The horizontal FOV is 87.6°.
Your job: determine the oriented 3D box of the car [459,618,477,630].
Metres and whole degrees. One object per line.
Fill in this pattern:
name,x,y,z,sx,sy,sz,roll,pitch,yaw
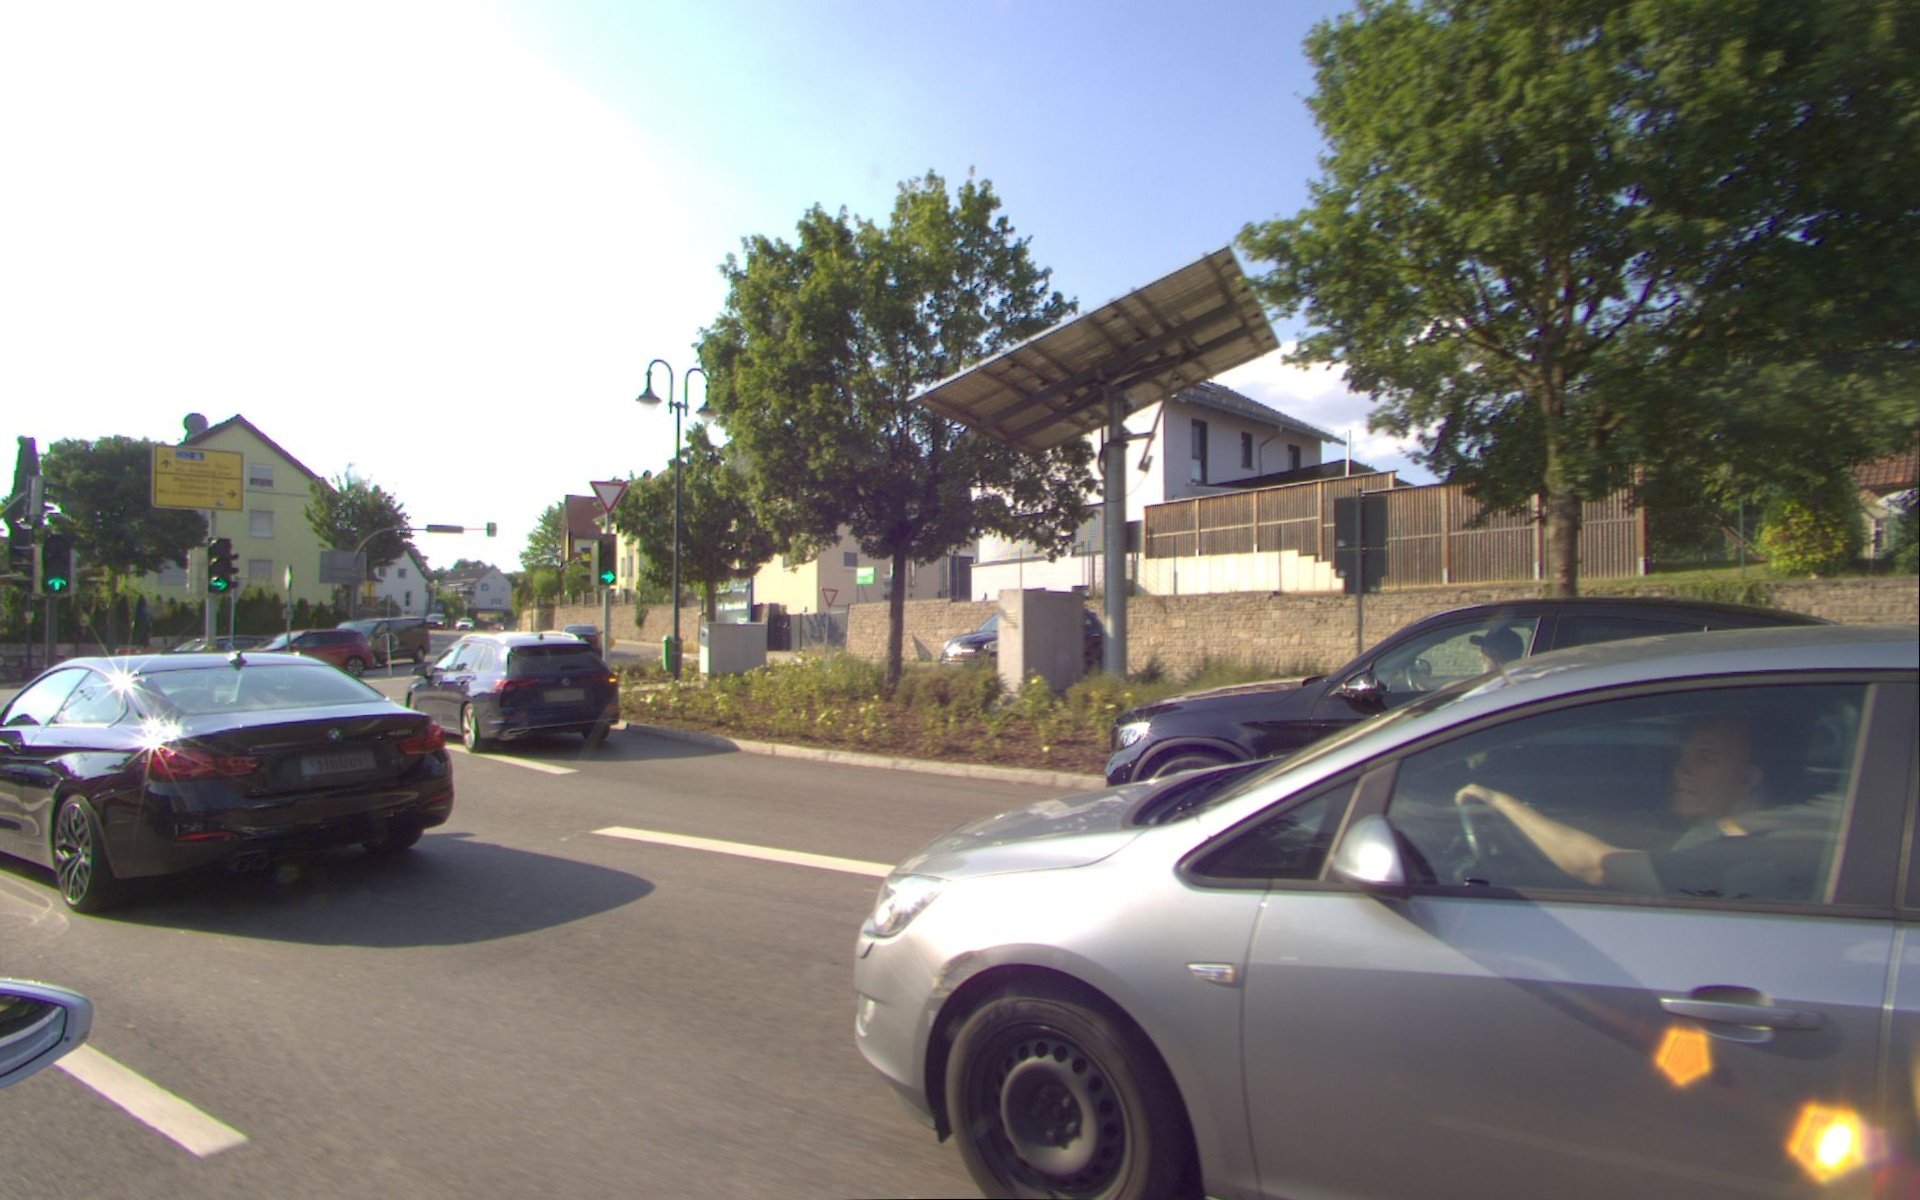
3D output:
car,-59.156,2.886,120.389,1.788,1.361,3.988,0,-2,-23

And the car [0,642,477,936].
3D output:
car,-5.285,0.999,6.737,4.201,1.386,1.696,-1,-1,32

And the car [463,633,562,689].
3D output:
car,-13.219,1.758,29.790,1.833,1.513,3.998,0,-2,-11

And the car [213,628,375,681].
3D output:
car,-22.392,1.791,33.863,1.833,1.646,4.238,-1,-2,27

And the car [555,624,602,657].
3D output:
car,-17.070,1.789,44.661,1.788,1.361,3.988,0,-2,-23

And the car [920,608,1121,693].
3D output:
car,1.264,0.929,19.425,1.662,1.475,4.042,-2,-2,45

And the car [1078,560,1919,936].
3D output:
car,3.078,0.682,5.771,4.424,1.586,1.839,-1,-2,27

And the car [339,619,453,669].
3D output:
car,-23.612,1.820,42.178,1.961,1.956,5.181,0,-2,-1

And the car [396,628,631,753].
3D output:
car,-6.212,1.115,13.686,1.619,1.428,4.237,0,-2,-44

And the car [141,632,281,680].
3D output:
car,-25.575,1.889,34.290,3.756,1.561,1.586,1,-2,-39

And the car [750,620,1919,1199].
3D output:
car,1.583,0.790,2.444,4.083,1.441,1.644,-1,0,31

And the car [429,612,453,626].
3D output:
car,-50.552,1.848,97.625,1.788,1.361,3.988,0,-2,-23
